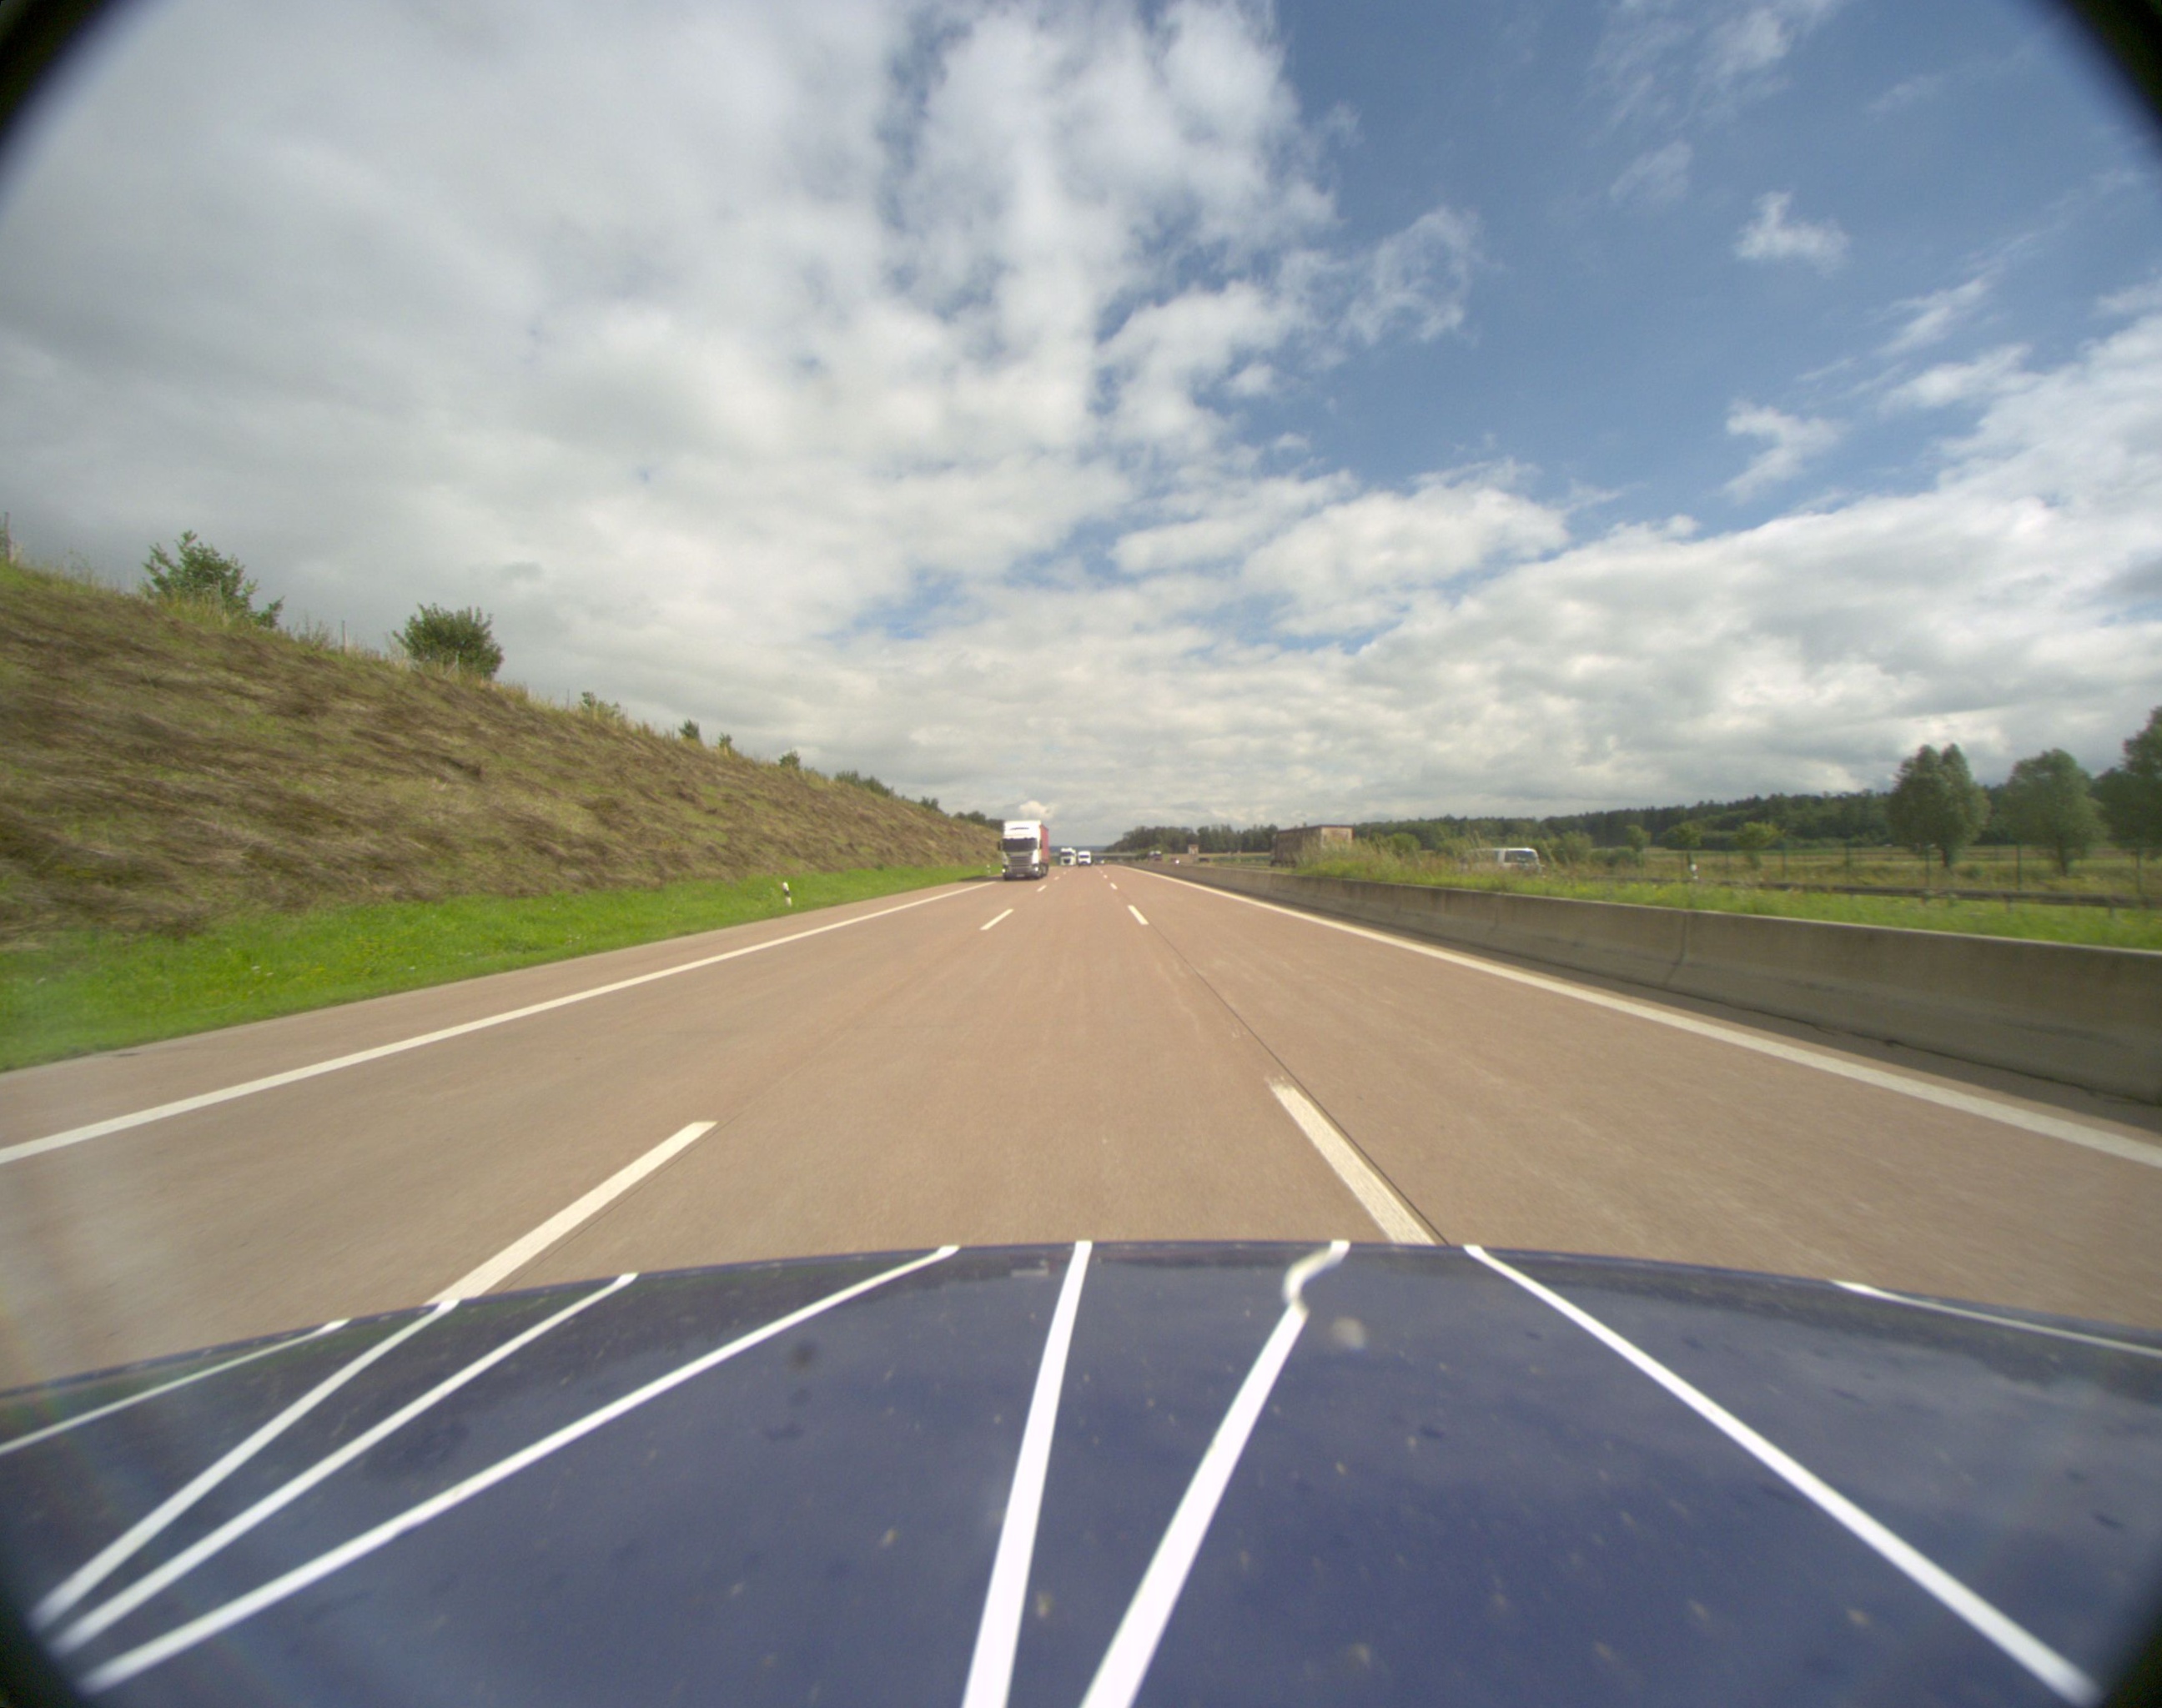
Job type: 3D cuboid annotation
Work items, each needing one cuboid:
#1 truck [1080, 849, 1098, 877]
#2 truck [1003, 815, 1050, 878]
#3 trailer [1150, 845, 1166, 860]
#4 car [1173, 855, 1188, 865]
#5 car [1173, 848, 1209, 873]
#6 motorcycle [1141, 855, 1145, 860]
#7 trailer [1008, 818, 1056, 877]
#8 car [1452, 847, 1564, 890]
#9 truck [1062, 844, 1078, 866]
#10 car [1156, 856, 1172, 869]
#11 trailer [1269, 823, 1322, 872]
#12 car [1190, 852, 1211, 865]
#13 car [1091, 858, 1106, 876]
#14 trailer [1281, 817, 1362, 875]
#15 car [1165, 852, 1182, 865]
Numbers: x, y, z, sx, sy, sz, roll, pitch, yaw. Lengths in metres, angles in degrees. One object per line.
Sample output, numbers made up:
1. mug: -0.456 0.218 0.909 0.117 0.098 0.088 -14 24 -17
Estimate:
1. truck: 1.381 1.488 127.518 2.681 4.333 11.808 -3 0 0
2. truck: -3.722 -0.472 53.513 2.681 4.082 6.616 -2 0 1
3. trailer: 21.929 -0.430 216.935 3.202 3.955 16.326 -3 0 2
4. car: 17.760 1.074 135.384 1.978 1.652 4.490 -3 0 0
5. car: 7.876 0.432 54.845 1.977 1.652 4.082 -3 0 1
6. motorcycle: 17.772 0.952 218.214 0.929 1.296 2.342 -3 0 1
7. trailer: -3.660 -0.452 59.745 2.679 4.069 12.789 -2 0 1
8. car: 19.748 0.612 35.507 2.063 1.835 5.728 0 0 1
9. truck: -2.294 0.178 162.772 3.107 4.333 11.256 -3 0 0
10. car: 13.431 1.357 123.344 1.998 1.971 5.218 -3 0 0
11. trailer: 20.038 -0.604 71.460 3.015 4.223 7.009 -3 0 1
12. car: 15.985 0.594 101.586 1.998 1.565 5.218 -3 0 0
13. car: 3.561 2.520 151.149 2.773 3.260 6.393 -3 0 1
14. trailer: 19.900 -0.613 63.889 3.029 4.239 12.095 -3 0 1
15. car: 8.653 0.429 71.088 1.225 1.145 2.757 -3 0 1
